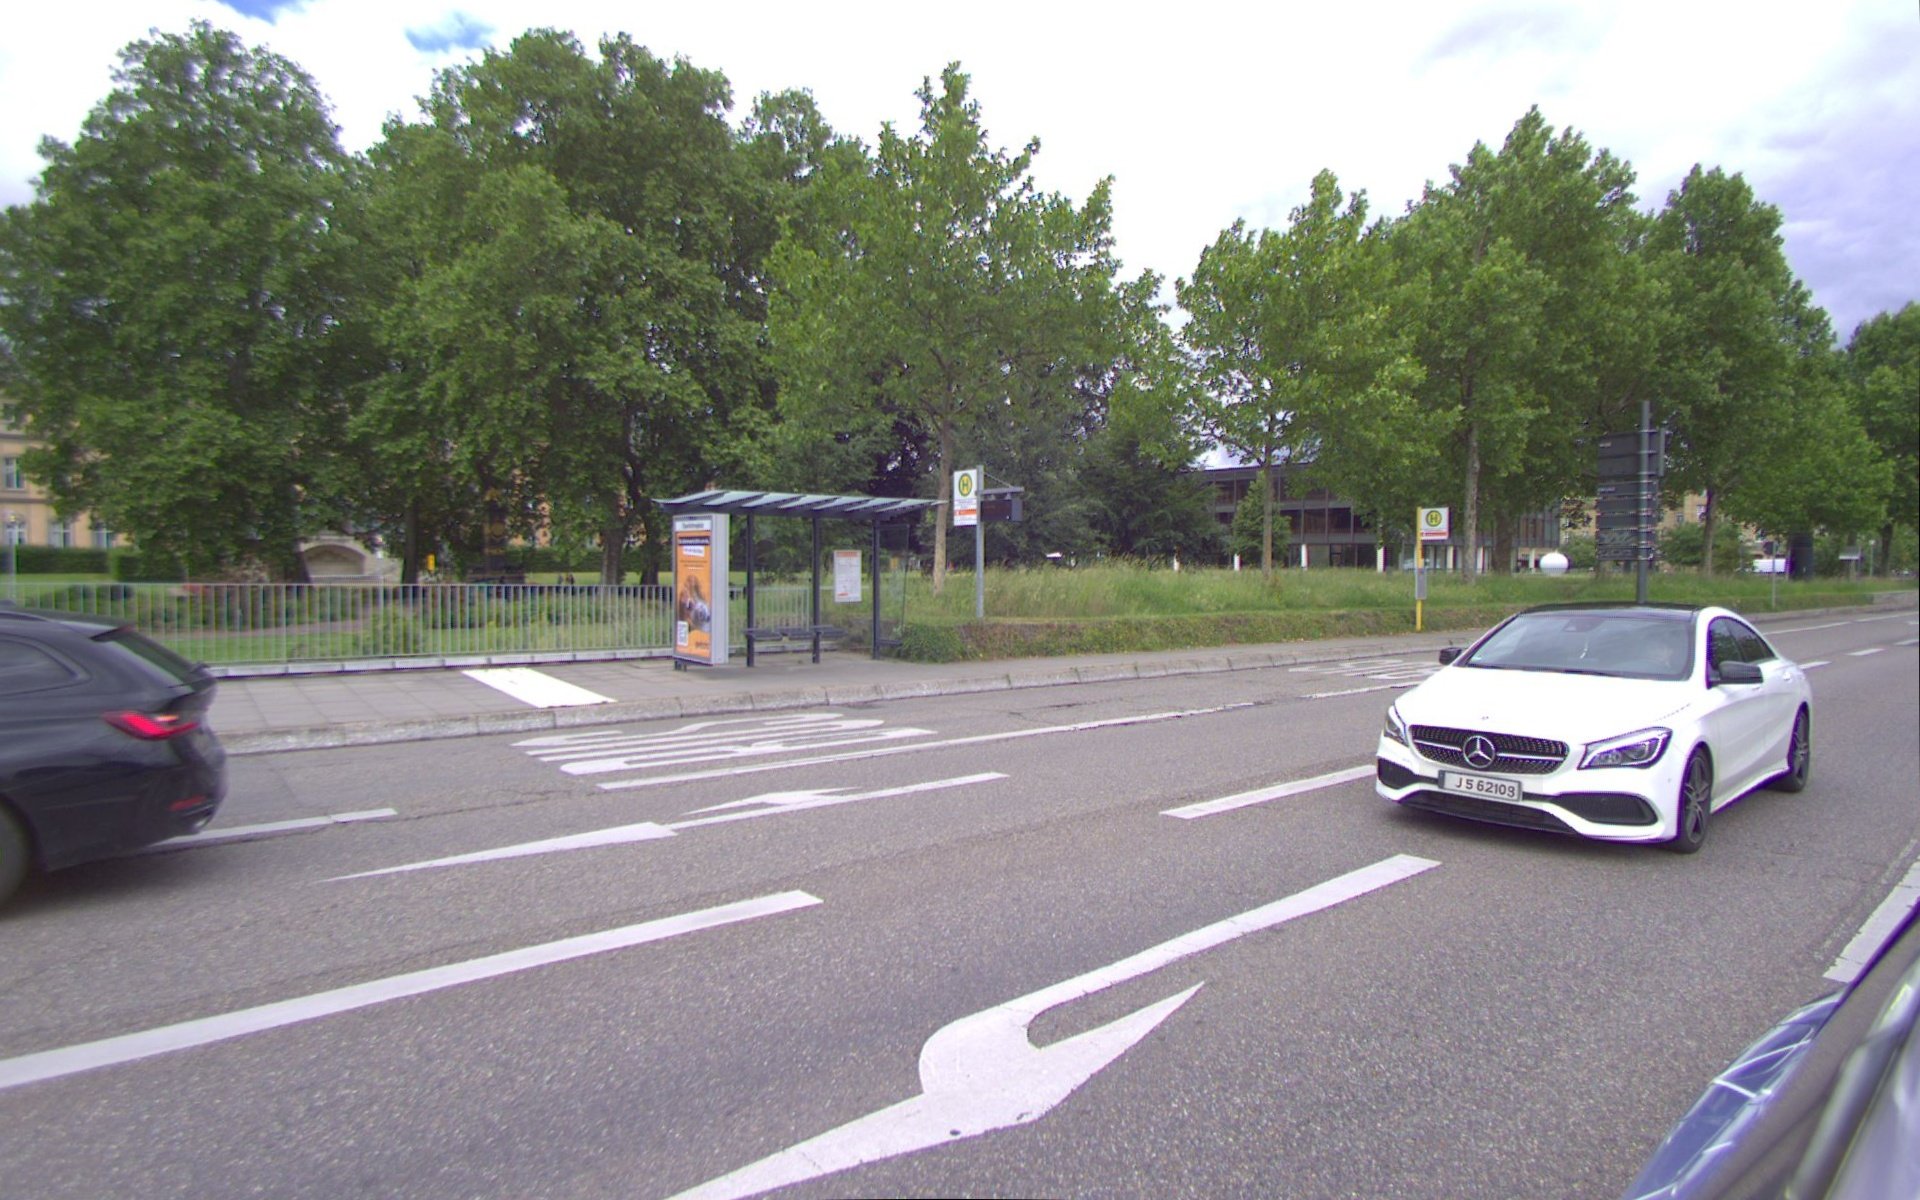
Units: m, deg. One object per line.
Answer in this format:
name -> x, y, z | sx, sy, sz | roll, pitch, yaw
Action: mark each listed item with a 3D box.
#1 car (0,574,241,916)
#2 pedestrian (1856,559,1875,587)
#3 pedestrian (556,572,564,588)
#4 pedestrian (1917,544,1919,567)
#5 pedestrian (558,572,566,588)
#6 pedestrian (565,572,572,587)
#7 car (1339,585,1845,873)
car -> -5.889, 0.674, 4.397 | 4.441, 1.478, 1.938 | -2, 1, -35
pedestrian -> 68.937, -2.057, 77.059 | 1.160, 2.039, 0.891 | -2, 0, -40
pedestrian -> -35.756, -1.781, 90.443 | 0.401, 1.347, 0.465 | -1, 0, 21
pedestrian -> 84.451, -3.924, 88.567 | 1.160, 2.039, 0.891 | -2, 0, -40
pedestrian -> -35.398, -1.784, 89.991 | 0.401, 1.347, 0.465 | -1, 0, 21
pedestrian -> -34.628, -1.799, 89.527 | 0.401, 1.347, 0.465 | -1, 0, 21
car -> 4.768, 0.638, 7.352 | 4.446, 1.437, 1.798 | -1, 2, -39
